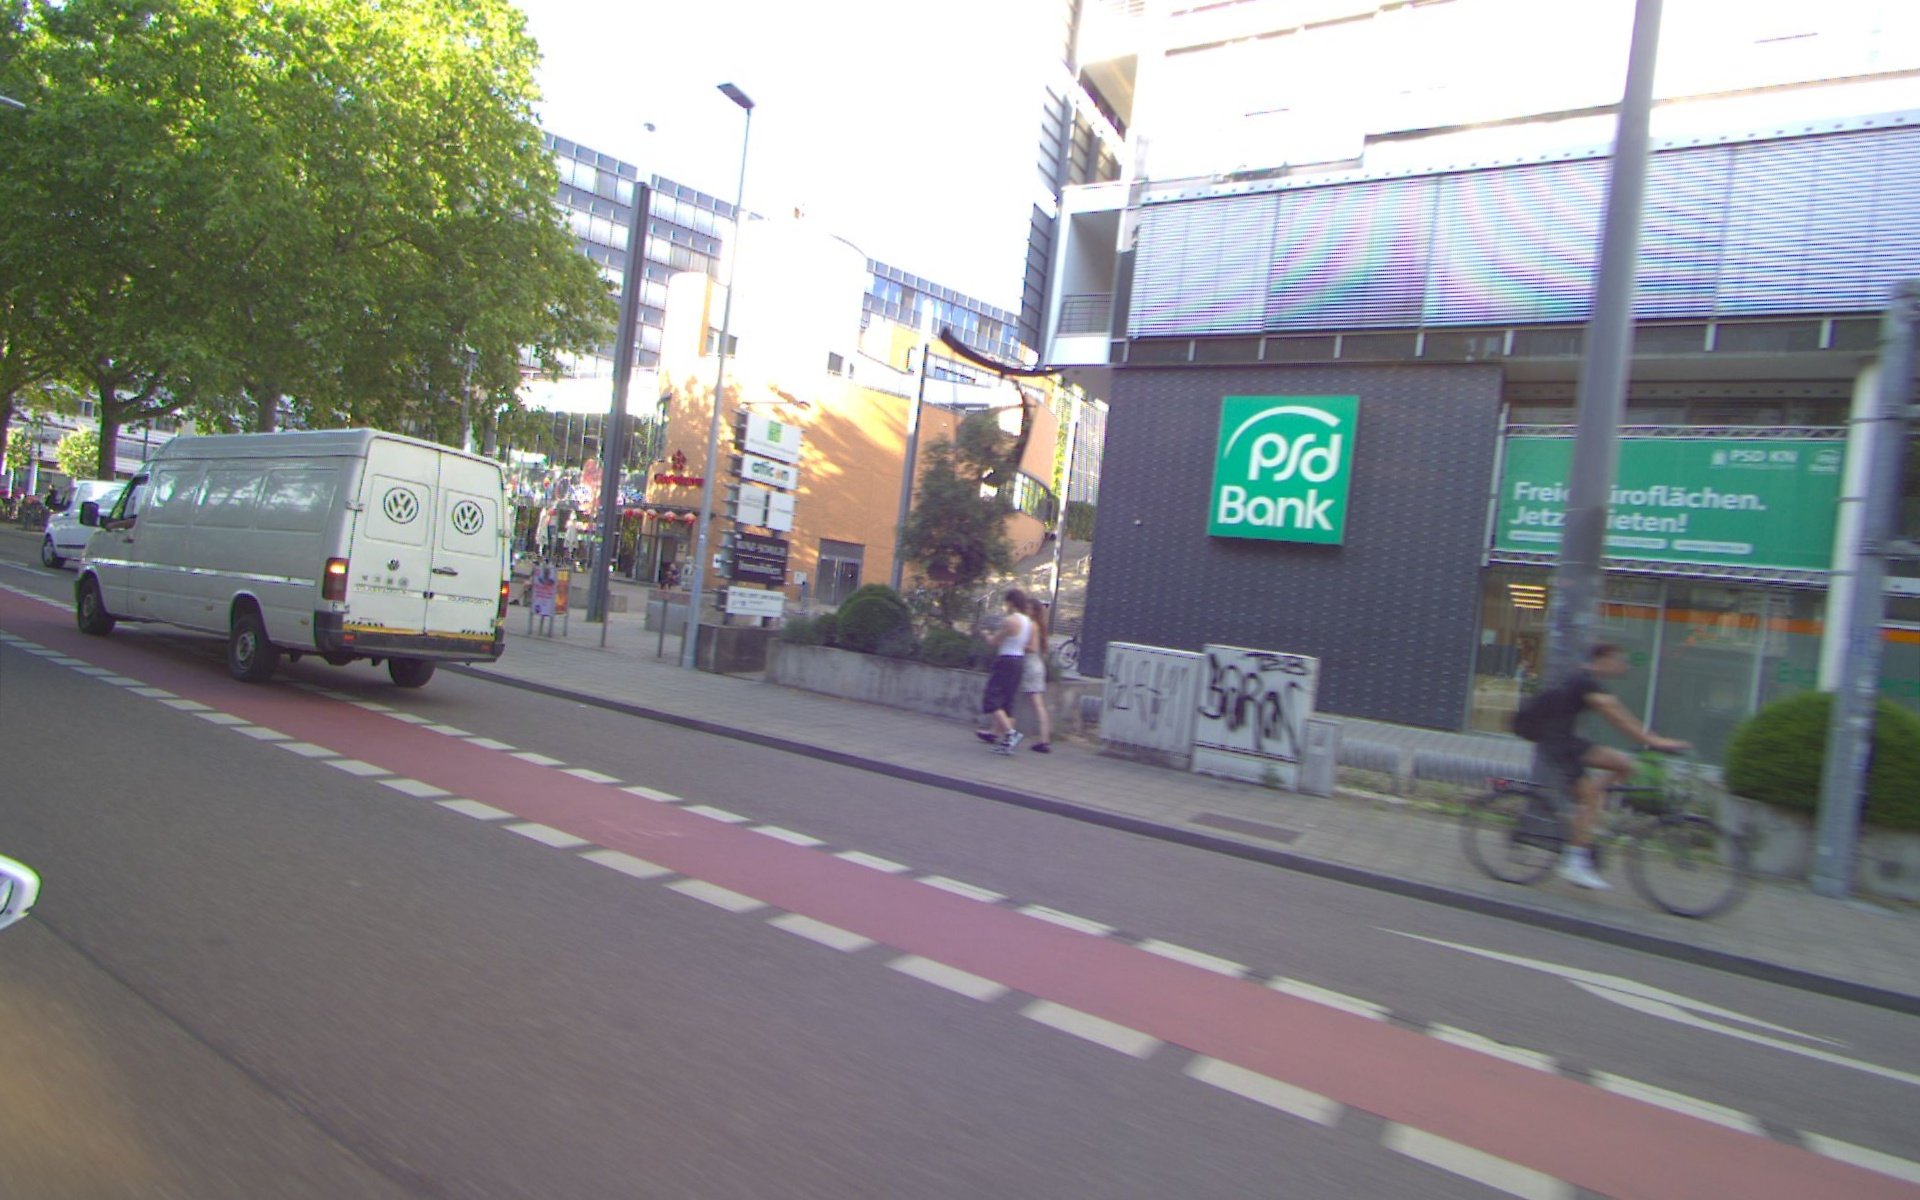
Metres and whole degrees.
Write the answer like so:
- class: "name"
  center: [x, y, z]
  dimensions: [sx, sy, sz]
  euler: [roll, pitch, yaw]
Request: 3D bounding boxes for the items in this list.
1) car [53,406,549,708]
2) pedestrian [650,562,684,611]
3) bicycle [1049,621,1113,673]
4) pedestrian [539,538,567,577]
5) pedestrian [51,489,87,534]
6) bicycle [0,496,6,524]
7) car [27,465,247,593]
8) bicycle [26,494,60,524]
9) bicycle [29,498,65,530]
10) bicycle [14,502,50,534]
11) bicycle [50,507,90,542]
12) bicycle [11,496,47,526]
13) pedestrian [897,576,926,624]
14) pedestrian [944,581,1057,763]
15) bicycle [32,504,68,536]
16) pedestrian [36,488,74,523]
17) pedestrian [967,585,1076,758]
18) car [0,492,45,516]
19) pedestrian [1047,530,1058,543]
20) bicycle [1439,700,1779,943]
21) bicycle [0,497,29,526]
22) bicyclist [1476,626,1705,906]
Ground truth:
- class: "car"
  center: [-7.853, -0.619, 11.692]
  dimensions: [6.452, 2.756, 1.997]
  euler: [7, -1, 31]
- class: "pedestrian"
  center: [-9.547, -0.433, 32.738]
  dimensions: [0.591, 1.474, 0.711]
  euler: [7, 1, 31]
- class: "bicycle"
  center: [2.811, 1.092, 23.154]
  dimensions: [0.688, 1.077, 1.877]
  euler: [7, 1, 30]
- class: "pedestrian"
  center: [-20.481, -2.128, 50.643]
  dimensions: [0.983, 1.867, 0.850]
  euler: [6, 1, -12]
- class: "pedestrian"
  center: [-38.429, -3.819, 43.391]
  dimensions: [0.757, 1.779, 0.819]
  euler: [7, 1, 25]
- class: "bicycle"
  center: [-38.295, -3.614, 39.570]
  dimensions: [1.626, 1.045, 0.596]
  euler: [7, 1, 28]
- class: "car"
  center: [-17.654, -1.546, 21.498]
  dimensions: [5.205, 2.161, 2.124]
  euler: [7, 0, 34]
- class: "bicycle"
  center: [-40.964, -4.069, 44.934]
  dimensions: [1.449, 1.174, 0.422]
  euler: [7, 1, 20]
- class: "bicycle"
  center: [-37.430, -3.541, 41.231]
  dimensions: [1.626, 1.151, 0.503]
  euler: [7, 1, 28]
- class: "bicycle"
  center: [-33.122, -2.934, 35.908]
  dimensions: [1.733, 0.993, 0.451]
  euler: [7, 1, 32]
- class: "bicycle"
  center: [-29.278, -2.478, 33.070]
  dimensions: [1.733, 0.993, 0.451]
  euler: [7, 1, 32]
- class: "bicycle"
  center: [-37.694, -3.594, 40.739]
  dimensions: [1.626, 1.045, 0.503]
  euler: [7, 1, 28]
- class: "pedestrian"
  center: [-1.807, 0.012, 37.335]
  dimensions: [0.711, 1.697, 0.539]
  euler: [7, 1, 31]
- class: "pedestrian"
  center: [0.443, 0.767, 10.941]
  dimensions: [0.876, 1.832, 0.563]
  euler: [7, 2, 32]
- class: "bicycle"
  center: [-32.922, -2.890, 36.386]
  dimensions: [1.733, 0.993, 0.451]
  euler: [7, 1, 32]
- class: "pedestrian"
  center: [-53.909, -5.608, 59.915]
  dimensions: [1.023, 1.843, 1.213]
  euler: [7, -1, 23]
- class: "pedestrian"
  center: [0.708, 0.804, 11.526]
  dimensions: [0.881, 1.832, 0.590]
  euler: [7, 2, 32]
- class: "car"
  center: [-81.212, -8.335, 85.884]
  dimensions: [1.767, 1.579, 4.243]
  euler: [7, 0, 34]
- class: "pedestrian"
  center: [6.230, -4.281, 67.677]
  dimensions: [0.508, 0.834, 0.437]
  euler: [7, 5, 25]
- class: "bicycle"
  center: [4.687, 1.546, 7.423]
  dimensions: [1.896, 1.293, 0.663]
  euler: [7, 4, 32]
- class: "bicycle"
  center: [-37.991, -3.553, 40.195]
  dimensions: [1.626, 1.045, 0.596]
  euler: [7, 1, 28]
- class: "bicyclist"
  center: [4.627, 1.149, 7.458]
  dimensions: [1.189, 1.787, 0.741]
  euler: [7, 4, 32]
